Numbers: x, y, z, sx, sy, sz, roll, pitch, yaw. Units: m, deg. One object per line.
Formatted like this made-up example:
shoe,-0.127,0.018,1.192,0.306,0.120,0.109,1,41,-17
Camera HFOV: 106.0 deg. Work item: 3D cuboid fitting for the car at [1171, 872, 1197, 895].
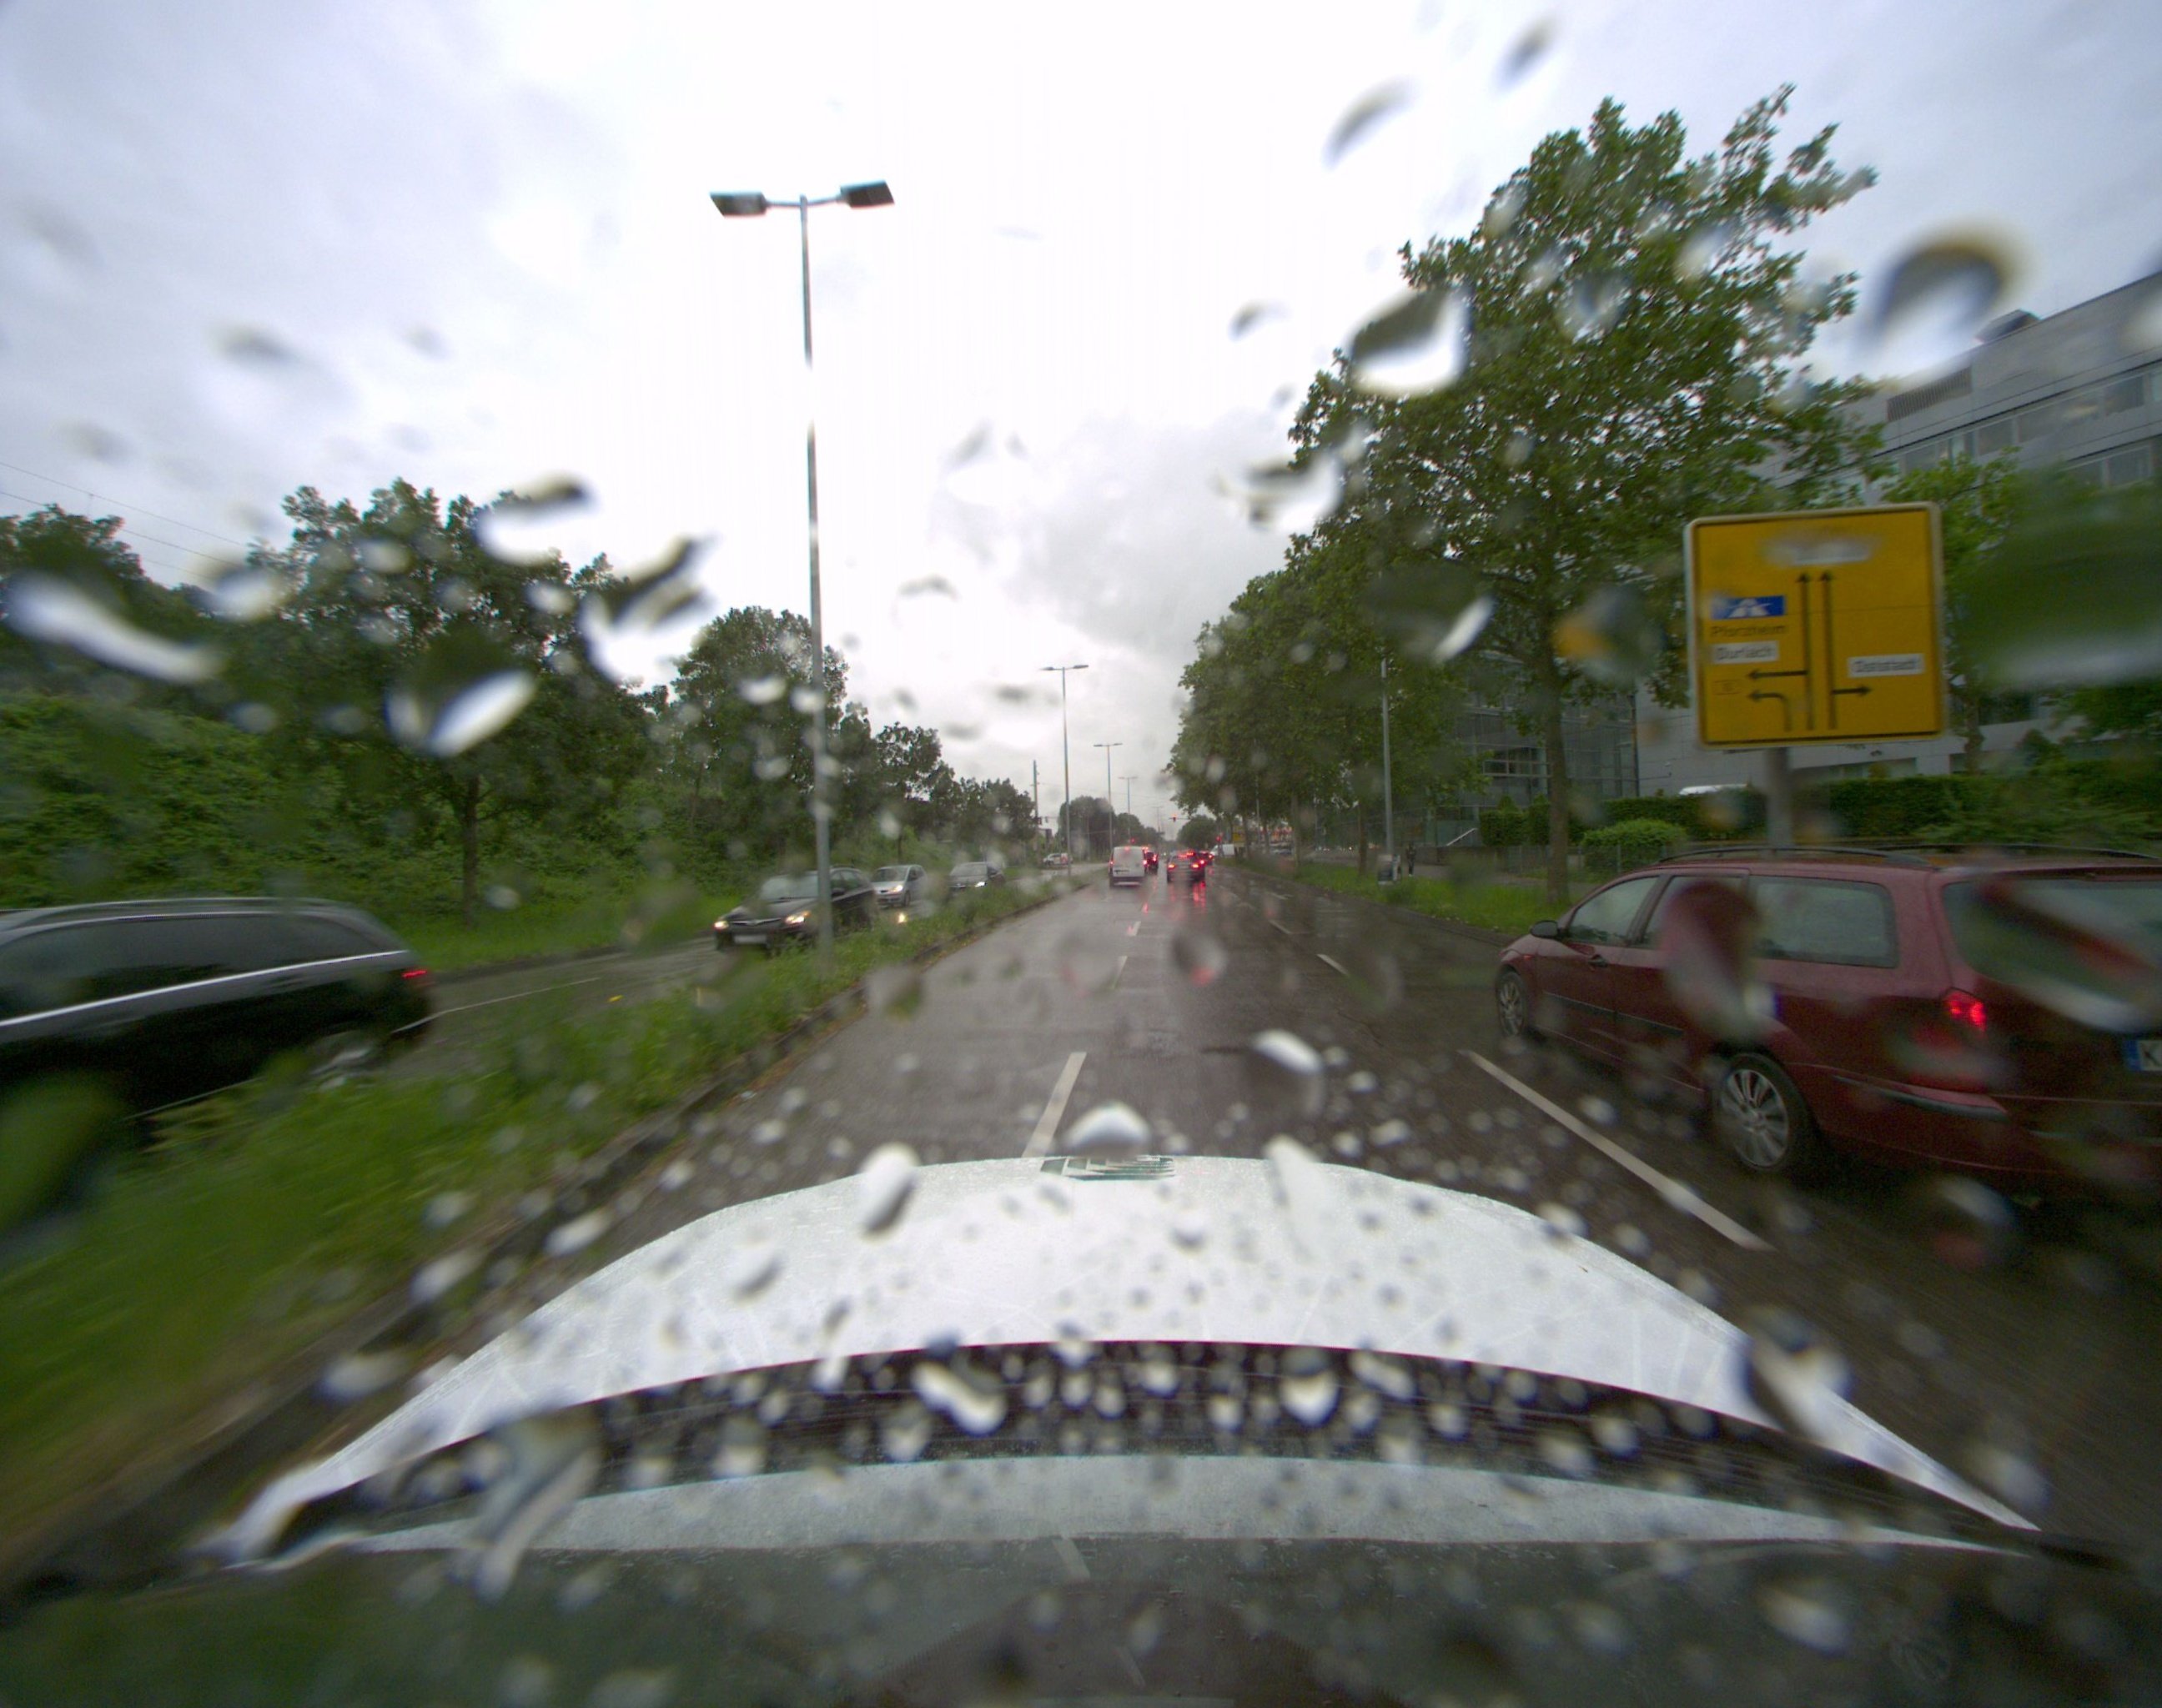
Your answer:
car,7.183,2.039,57.082,1.703,1.445,4.007,-2,0,6

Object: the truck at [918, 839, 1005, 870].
truck,-14.333,0.065,98.018,10.174,3.452,2.632,0,-2,-31

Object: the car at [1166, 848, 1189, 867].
car,7.601,0.247,64.448,1.703,1.445,4.007,-2,0,6

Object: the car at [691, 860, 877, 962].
car,-5.366,0.943,15.390,1.817,1.575,4.360,-1,0,1

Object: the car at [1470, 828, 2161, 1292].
car,4.009,0.685,4.736,1.830,1.537,4.117,-1,0,5

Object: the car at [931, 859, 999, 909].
car,-4.182,1.041,29.960,1.714,1.618,4.347,-2,0,2

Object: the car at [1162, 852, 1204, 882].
car,5.287,0.669,42.713,1.984,1.452,4.005,-1,0,5

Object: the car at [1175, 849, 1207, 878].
car,6.596,0.542,49.071,1.700,1.549,4.006,-1,1,5

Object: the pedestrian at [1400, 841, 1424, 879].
pedestrian,15.713,0.283,38.661,0.662,1.762,1.076,-2,0,0

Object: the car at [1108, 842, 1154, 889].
car,2.348,0.557,37.788,1.984,2.014,4.005,-1,-1,5

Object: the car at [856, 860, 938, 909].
car,-6.726,1.084,30.131,1.687,1.618,3.855,-2,0,7

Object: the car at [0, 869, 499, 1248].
car,-5.587,0.956,4.042,1.902,1.574,4.708,-4,0,0

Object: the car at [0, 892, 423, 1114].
car,-9.433,1.355,7.858,1.899,1.574,4.717,-5,0,6

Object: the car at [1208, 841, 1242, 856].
car,25.794,-0.982,145.813,6.039,2.744,1.980,0,-2,-30

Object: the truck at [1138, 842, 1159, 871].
truck,5.875,0.206,71.066,1.748,2.466,4.005,-1,0,5
